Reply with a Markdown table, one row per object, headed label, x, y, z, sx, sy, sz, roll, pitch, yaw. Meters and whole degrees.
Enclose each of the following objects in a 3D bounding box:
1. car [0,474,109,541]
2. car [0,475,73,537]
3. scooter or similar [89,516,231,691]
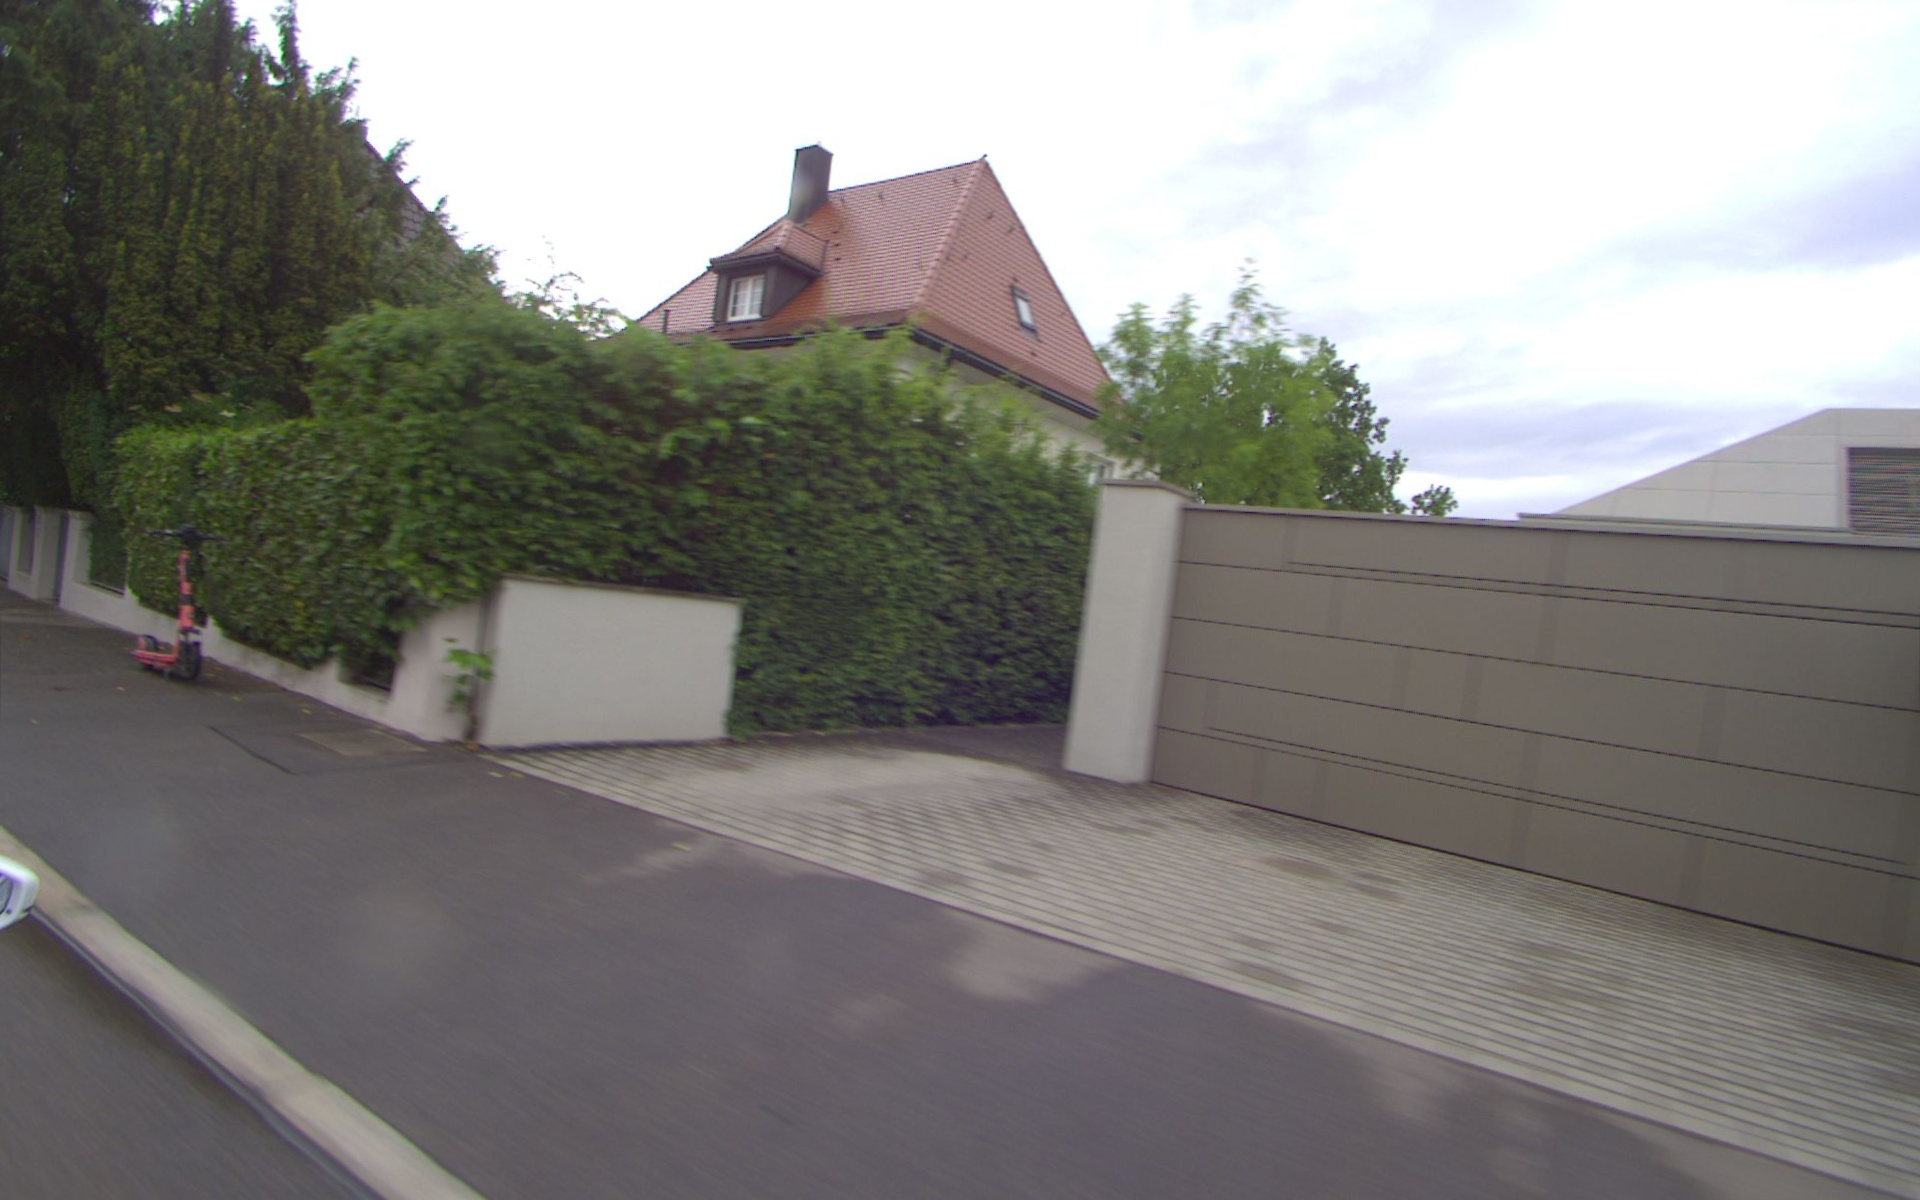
| label | x | y | z | sx | sy | sz | roll | pitch | yaw |
| --- | --- | --- | --- | --- | --- | --- | --- | --- | --- |
| car | -30.880 | -3.117 | 32.715 | 1.973 | 1.836 | 4.651 | 7 | 2 | 42 |
| car | -33.593 | -3.402 | 34.397 | 1.973 | 1.899 | 4.651 | 7 | 2 | 42 |
| scooter or similar | -6.780 | 0.006 | 8.506 | 1.458 | 1.324 | 0.449 | 6 | 1 | 35 |
